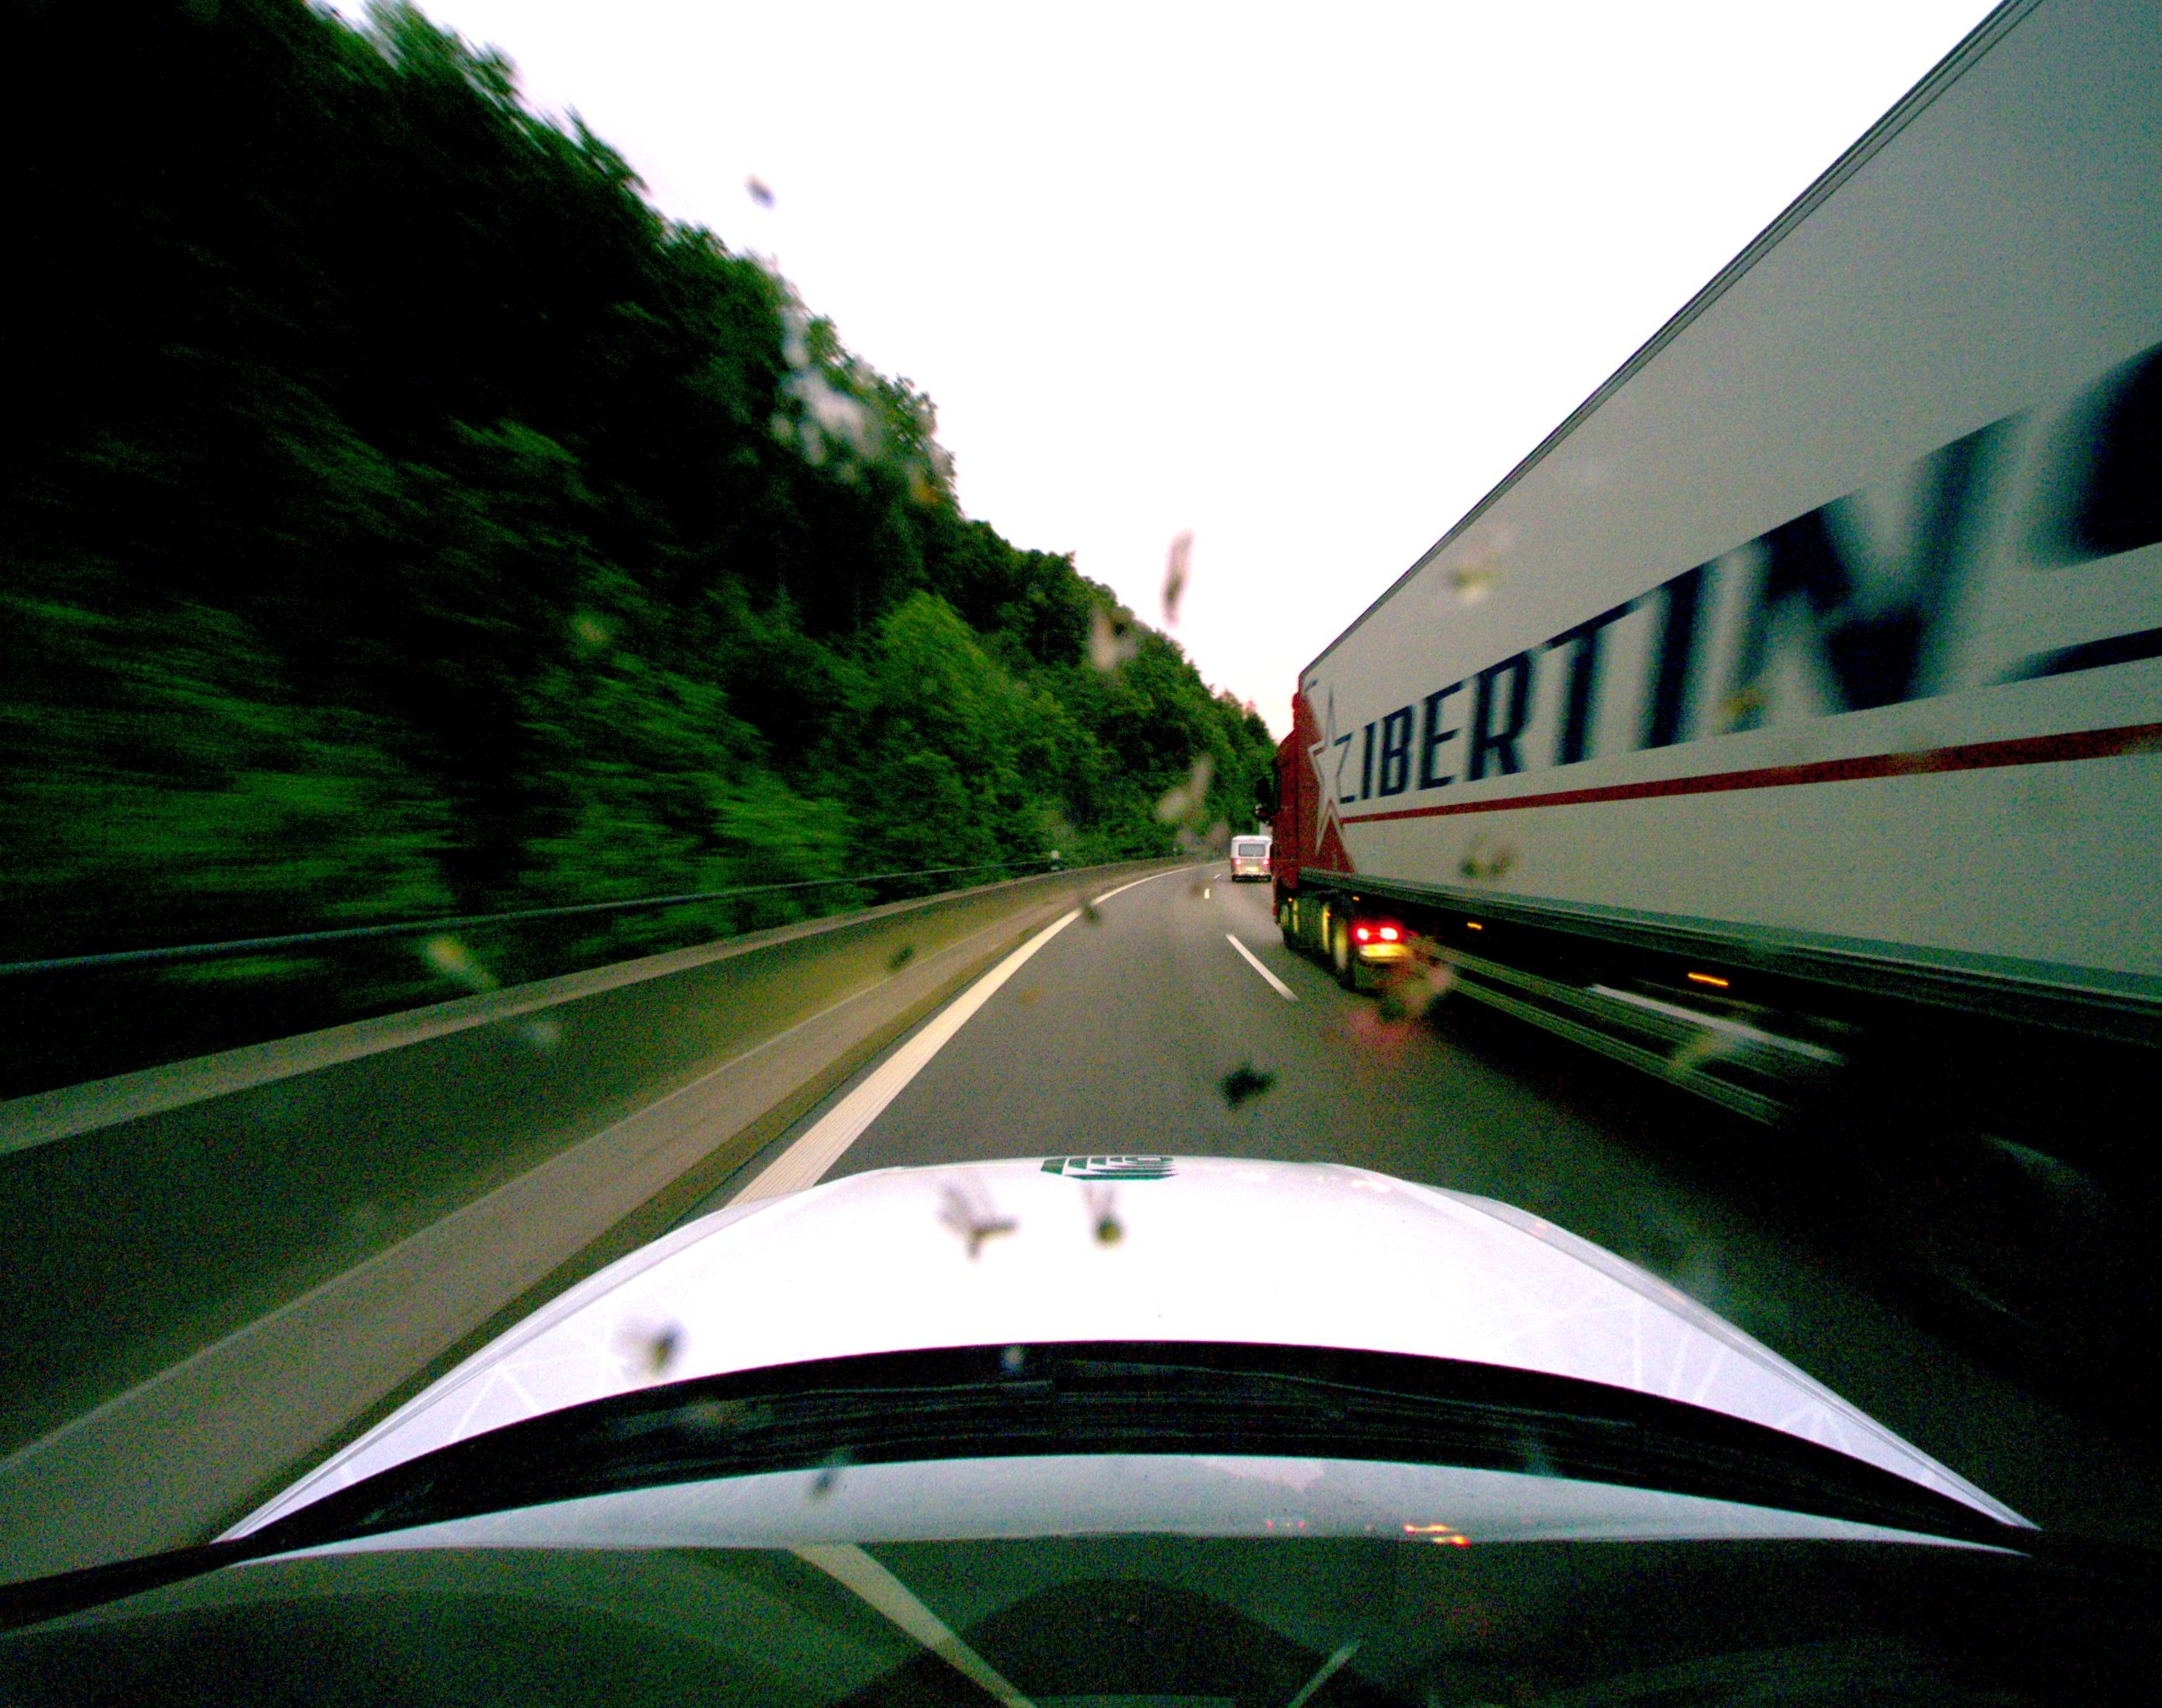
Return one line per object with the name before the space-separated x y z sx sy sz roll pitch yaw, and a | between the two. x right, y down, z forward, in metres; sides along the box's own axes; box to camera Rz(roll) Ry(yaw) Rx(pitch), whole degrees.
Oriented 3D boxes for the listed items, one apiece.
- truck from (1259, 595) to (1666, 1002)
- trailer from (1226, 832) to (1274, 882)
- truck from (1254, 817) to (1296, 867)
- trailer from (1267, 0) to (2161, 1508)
truck | 4.602 -0.566 11.563 3.056 4.145 6.452 1 0 3
trailer | 8.469 0.106 41.265 2.043 2.375 5.952 0 1 8
truck | 18.825 -1.027 79.222 3.272 4.173 16.560 -4 -1 13
trailer | 4.123 -0.531 5.182 3.085 3.970 14.226 -2 0 2
